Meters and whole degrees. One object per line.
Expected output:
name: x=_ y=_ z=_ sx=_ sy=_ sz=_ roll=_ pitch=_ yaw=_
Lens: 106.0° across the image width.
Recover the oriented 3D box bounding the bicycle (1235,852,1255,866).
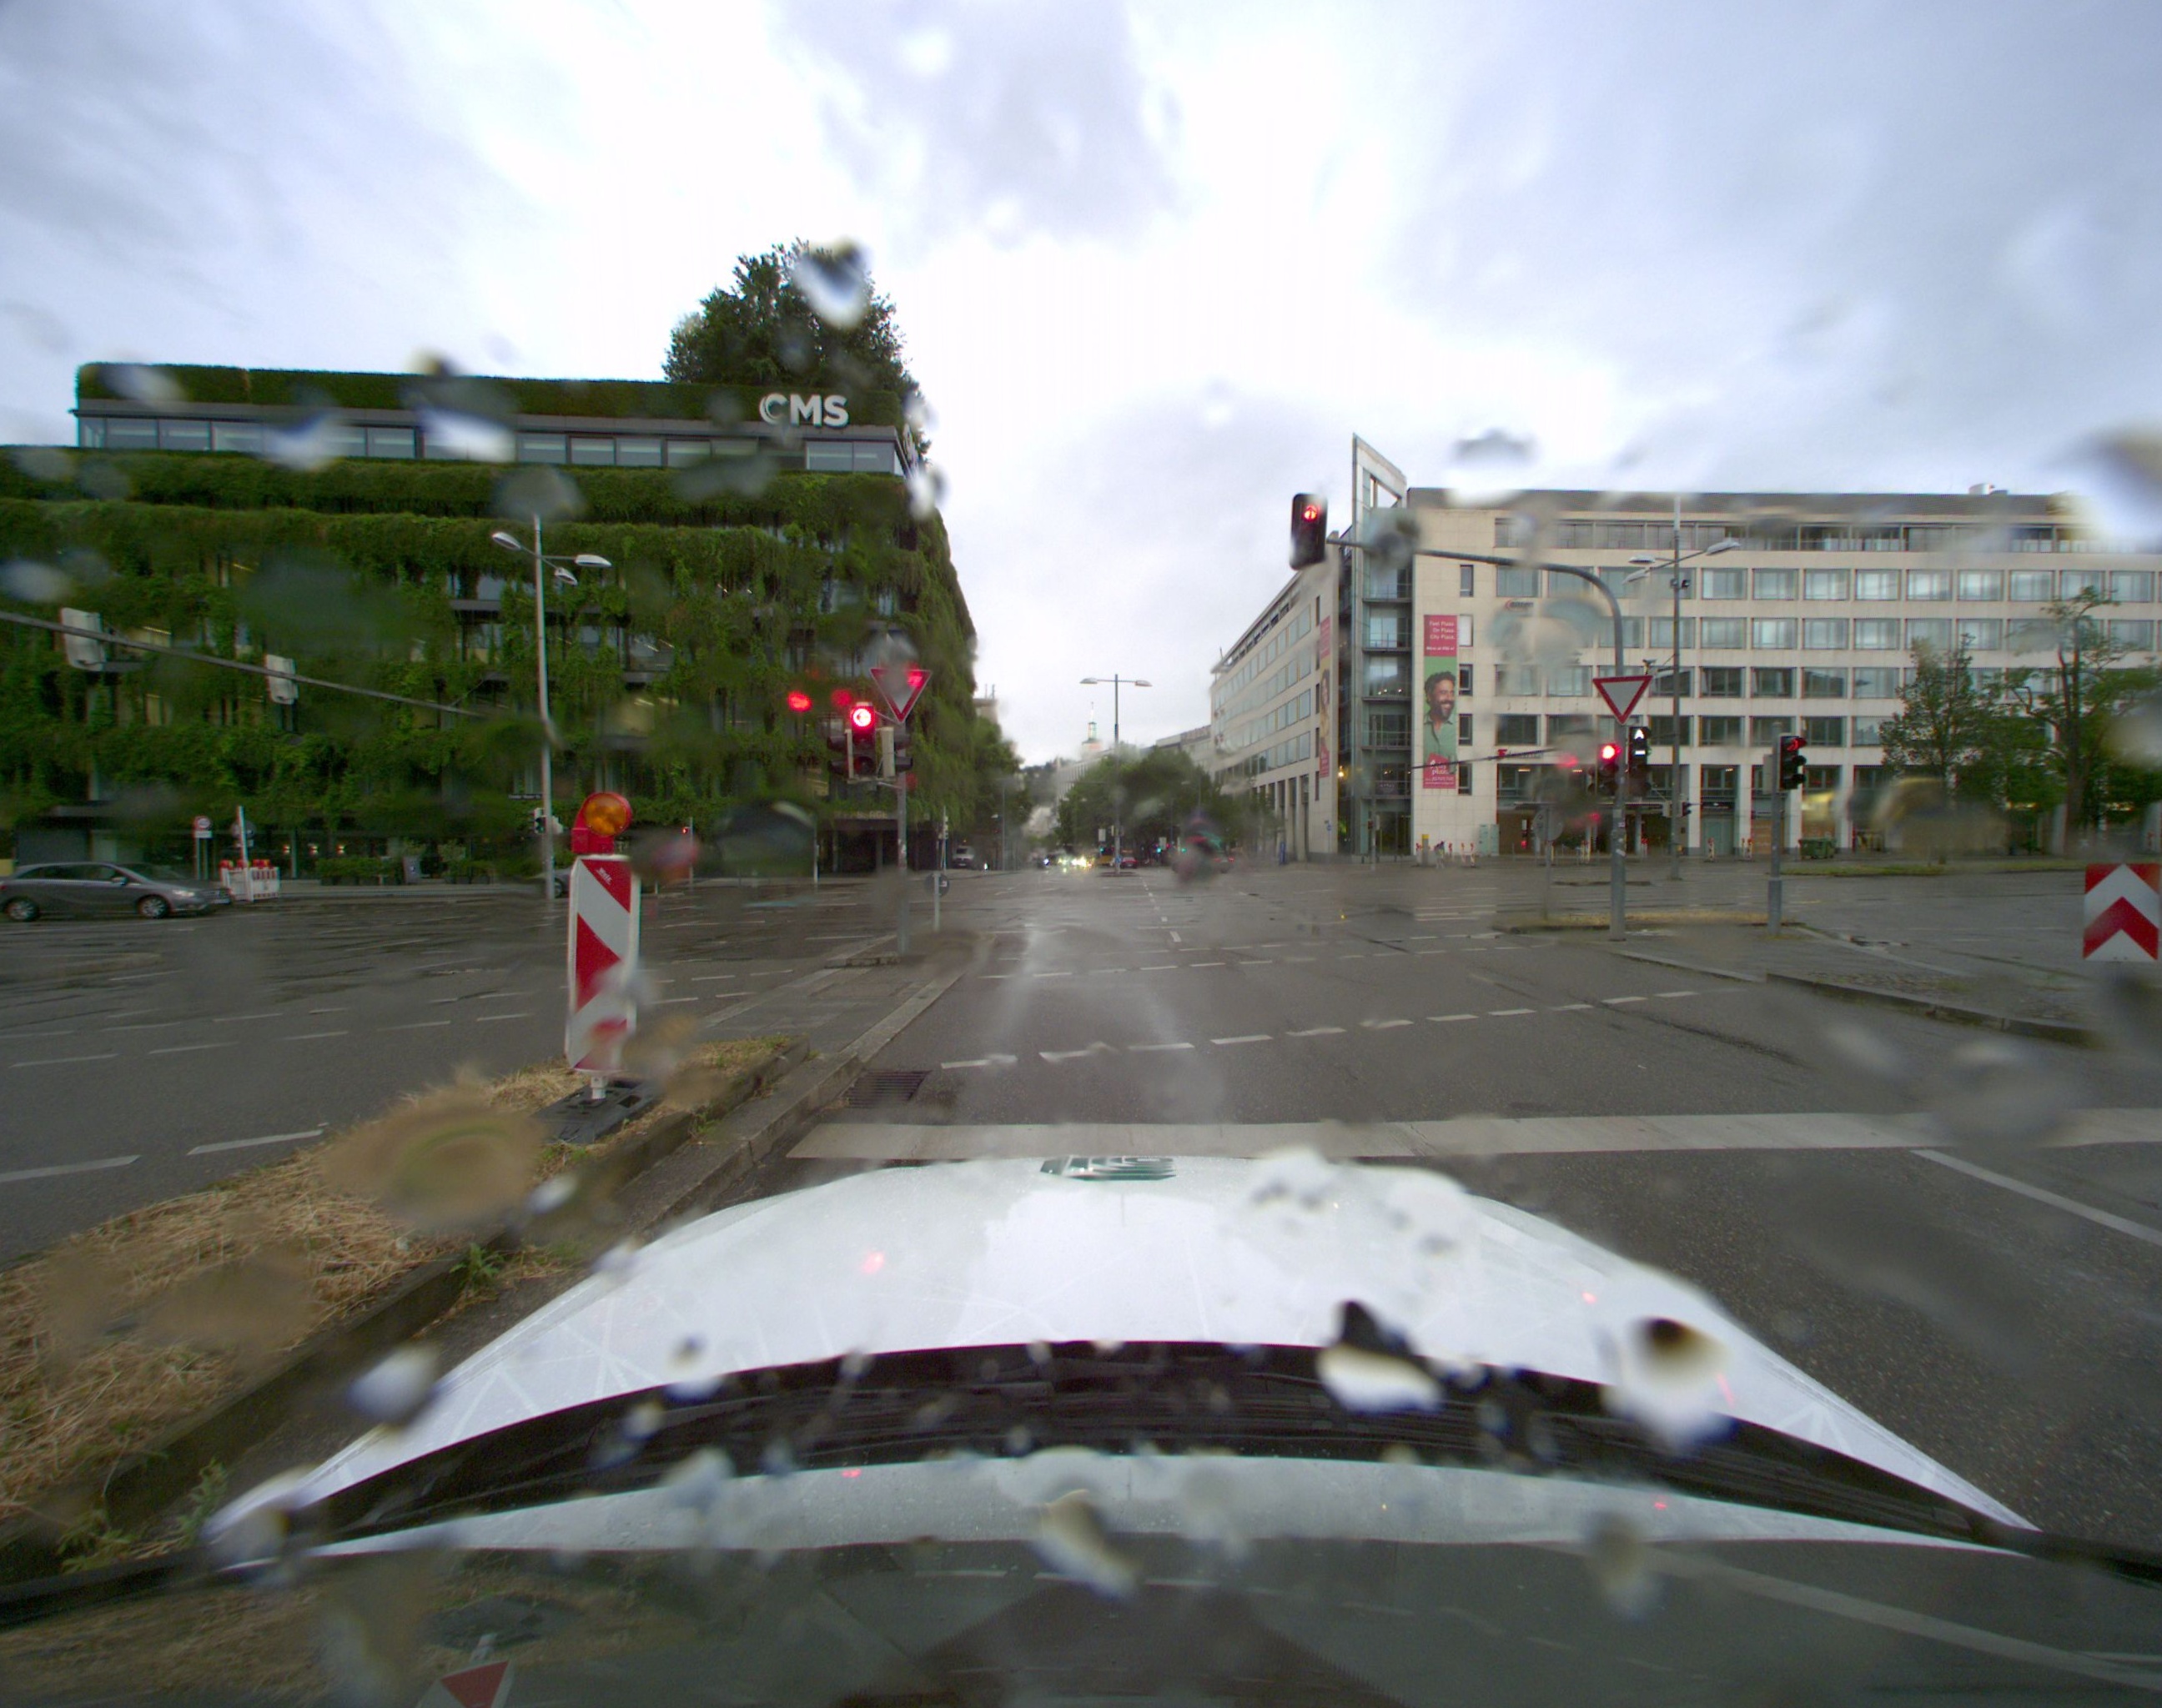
bicycle: x=14.944 y=0.453 z=74.141 sx=1.770 sy=1.194 sz=0.587 roll=0 pitch=-1 yaw=3

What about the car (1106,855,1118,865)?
car: x=4.669 y=0.957 z=123.341 sx=1.775 sy=1.508 sz=4.001 roll=0 pitch=-1 yaw=2

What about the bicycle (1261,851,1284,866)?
bicycle: x=15.207 y=0.373 z=64.645 sx=1.607 sy=1.194 sz=0.590 roll=-1 pitch=-1 yaw=27

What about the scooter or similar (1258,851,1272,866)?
scooter or similar: x=14.426 y=0.373 z=63.979 sx=0.951 sy=1.194 sz=0.458 roll=-1 pitch=-1 yaw=42

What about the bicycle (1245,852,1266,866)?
bicycle: x=15.293 y=0.428 z=71.410 sx=1.770 sy=1.194 sz=0.587 roll=0 pitch=-1 yaw=3

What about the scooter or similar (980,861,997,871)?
scooter or similar: x=-9.422 y=1.187 z=82.948 sx=0.616 sy=1.004 sz=1.671 roll=-1 pitch=0 yaw=40

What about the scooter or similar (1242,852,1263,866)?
scooter or similar: x=14.914 y=0.425 z=70.796 sx=1.770 sy=1.194 sz=0.587 roll=0 pitch=-1 yaw=3

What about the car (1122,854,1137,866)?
car: x=6.069 y=0.792 z=102.501 sx=1.775 sy=1.508 sz=4.001 roll=0 pitch=-1 yaw=2

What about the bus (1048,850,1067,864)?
bus: x=-5.231 y=0.631 z=180.718 sx=2.631 sy=2.995 sz=7.415 roll=-1 pitch=0 yaw=-13

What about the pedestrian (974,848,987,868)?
pedestrian: x=-8.180 y=0.341 z=66.152 sx=0.930 sy=1.644 sz=0.774 roll=0 pitch=-1 yaw=1

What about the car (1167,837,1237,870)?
car: x=7.612 y=-0.014 z=51.700 sx=1.556 sy=2.014 sz=4.615 roll=0 pitch=-1 yaw=-38

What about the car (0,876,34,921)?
car: x=-38.264 y=1.424 z=26.504 sx=4.732 sy=1.477 sz=1.987 roll=1 pitch=-2 yaw=-19

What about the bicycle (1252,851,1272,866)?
bicycle: x=14.734 y=0.389 z=66.210 sx=0.588 sy=1.194 sz=1.768 roll=0 pitch=-1 yaw=-26

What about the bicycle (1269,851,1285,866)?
bicycle: x=16.057 y=0.384 z=66.736 sx=0.579 sy=1.194 sz=1.794 roll=-1 pitch=-1 yaw=40

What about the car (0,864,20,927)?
car: x=-27.337 y=1.004 z=18.309 sx=3.981 sy=1.475 sz=1.996 roll=-1 pitch=0 yaw=-6

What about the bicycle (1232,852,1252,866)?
bicycle: x=14.477 y=0.449 z=73.234 sx=1.770 sy=1.194 sz=0.587 roll=0 pitch=-1 yaw=3

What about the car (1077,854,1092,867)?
car: x=0.466 y=0.864 z=117.367 sx=2.158 sy=1.765 sz=5.110 roll=-1 pitch=0 yaw=-1

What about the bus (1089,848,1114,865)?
bus: x=3.687 y=0.422 z=146.089 sx=2.631 sy=2.995 sz=7.415 roll=-1 pitch=0 yaw=-13

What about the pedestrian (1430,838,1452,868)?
pedestrian: x=21.857 y=-0.076 z=49.396 sx=0.958 sy=1.816 sz=0.837 roll=0 pitch=-1 yaw=1

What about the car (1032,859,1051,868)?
car: x=-7.814 y=1.830 z=159.760 sx=2.173 sy=1.765 sz=5.074 roll=0 pitch=-1 yaw=-22

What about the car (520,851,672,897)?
car: x=-17.946 y=0.728 z=30.368 sx=4.480 sy=1.609 sz=1.823 roll=0 pitch=-1 yaw=-14

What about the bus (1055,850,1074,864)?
bus: x=-3.535 y=0.633 z=173.574 sx=2.631 sy=2.995 sz=7.294 roll=-1 pitch=0 yaw=-13

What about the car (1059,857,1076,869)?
car: x=-2.255 y=1.442 z=132.862 sx=2.163 sy=1.765 sz=4.816 roll=-2 pitch=0 yaw=-9

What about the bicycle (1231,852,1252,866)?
bicycle: x=14.302 y=0.445 z=72.603 sx=1.770 sy=1.194 sz=0.587 roll=0 pitch=-1 yaw=3

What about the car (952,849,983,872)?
car: x=-9.553 y=0.571 z=68.735 sx=1.863 sy=1.839 sz=4.001 roll=0 pitch=-1 yaw=2

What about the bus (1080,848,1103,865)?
bus: x=1.995 y=0.442 z=153.282 sx=2.631 sy=2.995 sz=7.415 roll=-1 pitch=0 yaw=-13

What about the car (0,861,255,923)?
car: x=-26.120 y=0.985 z=22.066 sx=4.901 sy=1.488 sz=1.924 roll=-1 pitch=0 yaw=-15
